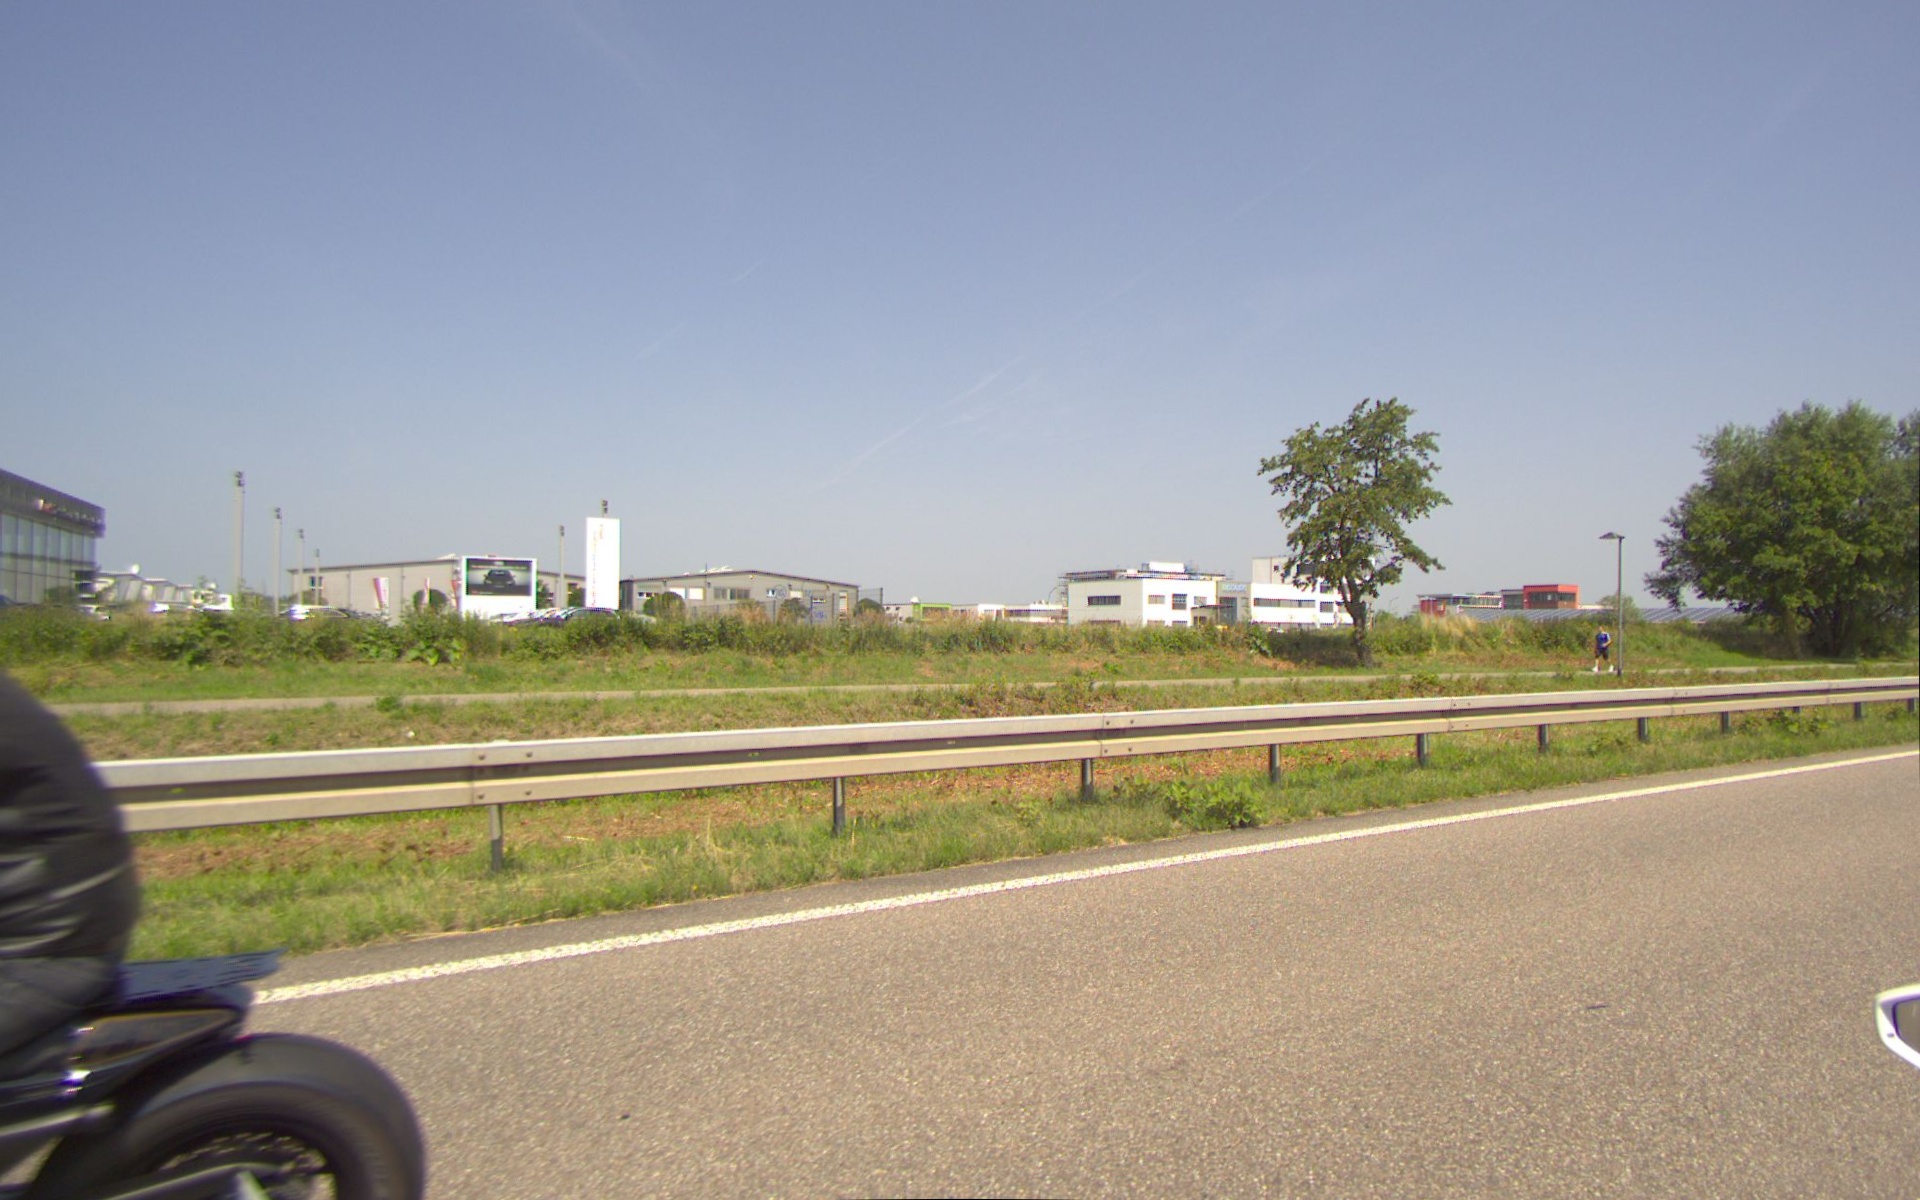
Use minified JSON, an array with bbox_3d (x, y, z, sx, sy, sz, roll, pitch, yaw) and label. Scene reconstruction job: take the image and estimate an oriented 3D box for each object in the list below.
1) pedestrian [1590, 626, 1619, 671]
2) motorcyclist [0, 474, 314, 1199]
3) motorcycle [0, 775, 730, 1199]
[{"bbox_3d":[25.520,1.904,39.780,0.809,1.773,0.577,1,-2,-25],"label":"pedestrian"},{"bbox_3d":[-1.616,0.498,1.582,0.924,1.327,0.989,1,0,-30],"label":"motorcyclist"},{"bbox_3d":[-1.611,0.955,1.627,2.241,1.041,0.923,1,0,-30],"label":"motorcycle"}]
